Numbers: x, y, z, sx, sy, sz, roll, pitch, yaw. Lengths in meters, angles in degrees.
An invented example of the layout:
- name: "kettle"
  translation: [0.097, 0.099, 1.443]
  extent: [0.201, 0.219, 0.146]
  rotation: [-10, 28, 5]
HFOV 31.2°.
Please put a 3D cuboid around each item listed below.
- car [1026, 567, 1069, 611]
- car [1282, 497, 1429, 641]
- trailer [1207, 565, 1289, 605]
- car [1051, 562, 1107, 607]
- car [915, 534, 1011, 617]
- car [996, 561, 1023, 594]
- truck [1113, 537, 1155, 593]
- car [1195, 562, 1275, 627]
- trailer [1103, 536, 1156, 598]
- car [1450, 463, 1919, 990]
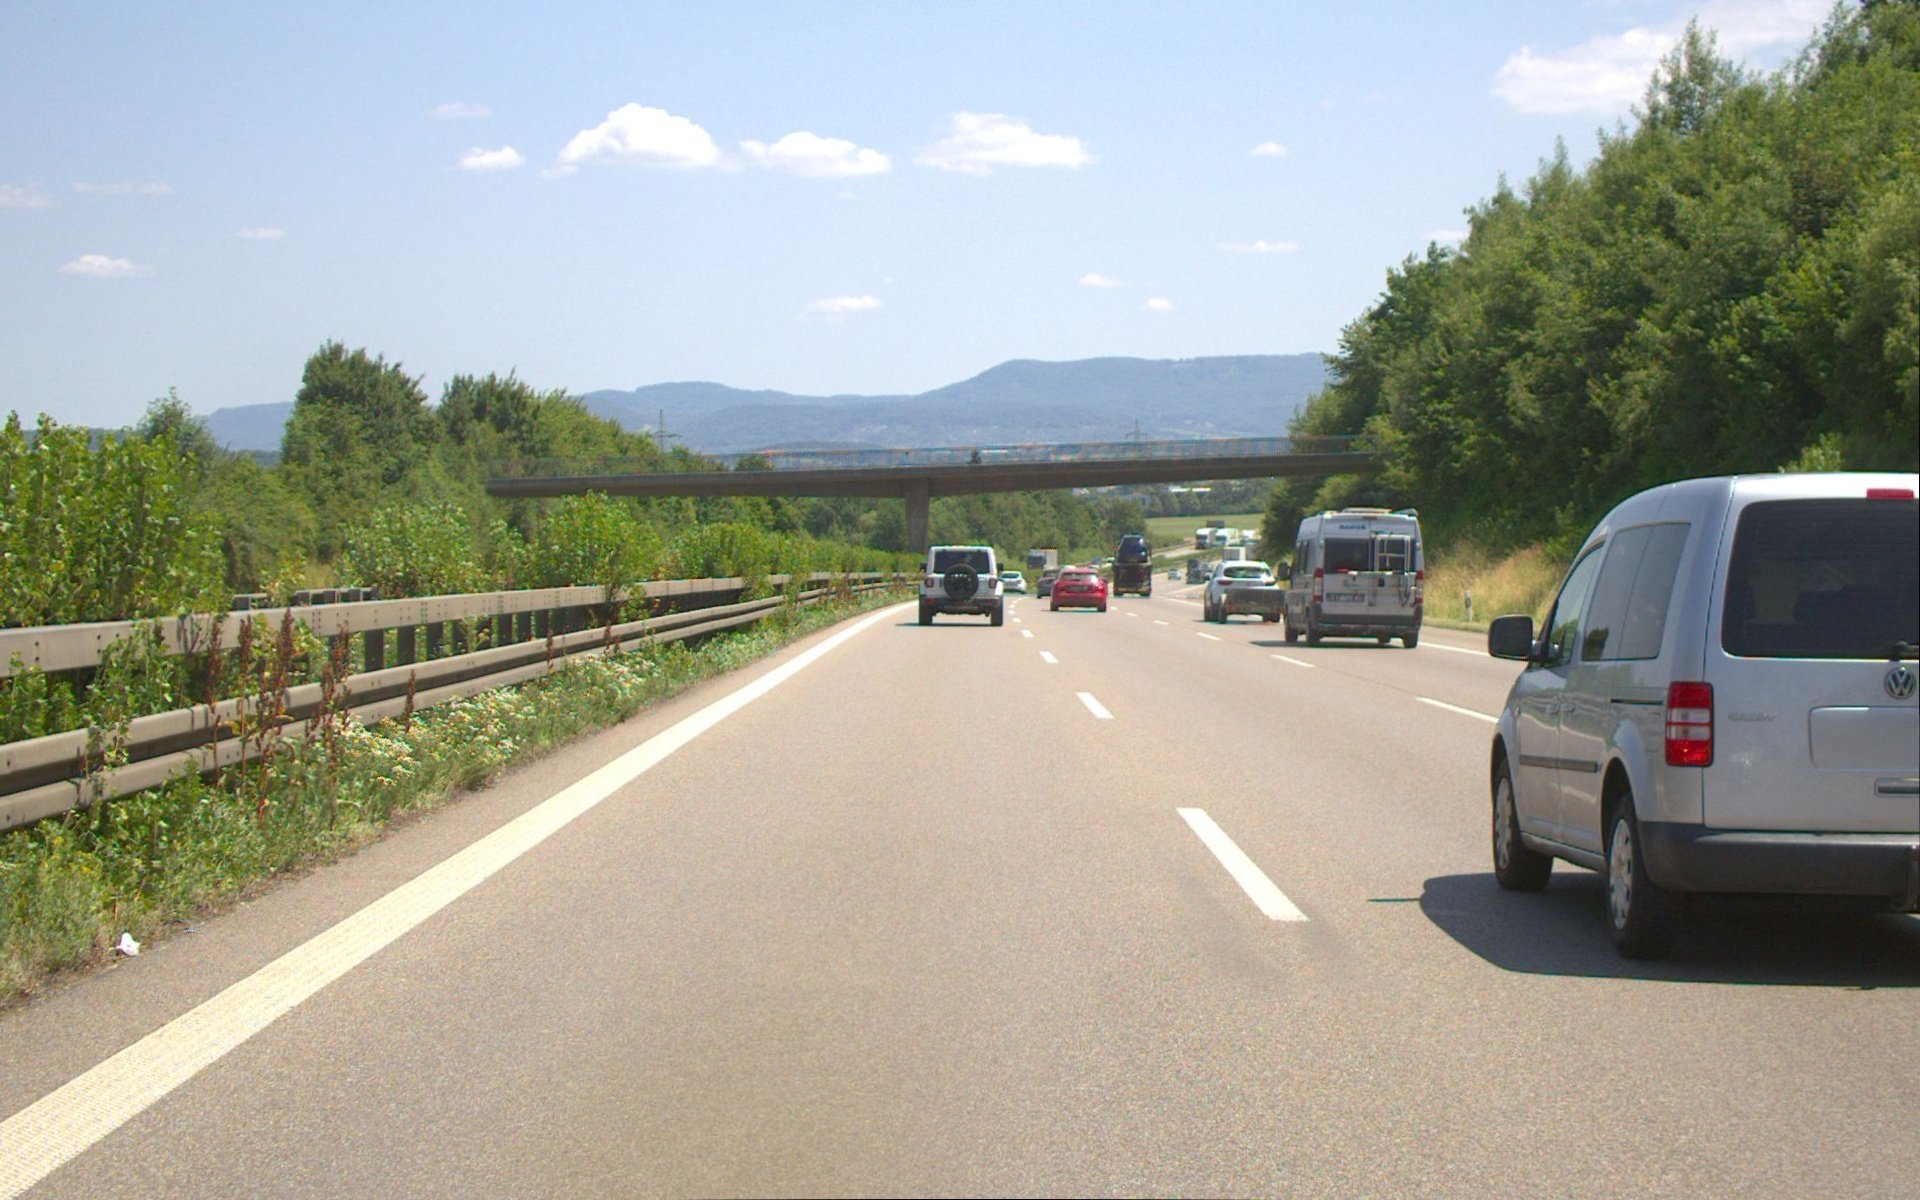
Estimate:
- name: "car"
  translation: [4.275, -0.556, 168.190]
  extent: [1.993, 2.007, 4.000]
  rotation: [1, 1, 0]
- name: "car"
  translation: [7.458, -0.652, 65.516]
  extent: [2.089, 2.567, 6.622]
  rotation: [1, 1, 1]
- name: "trailer"
  translation: [7.473, -0.407, 89.586]
  extent: [1.754, 0.905, 4.320]
  rotation: [1, 1, 0]
- name: "car"
  translation: [3.885, -0.523, 112.417]
  extent: [1.686, 1.374, 3.949]
  rotation: [1, 1, 0]
- name: "car"
  translation: [0.101, -0.598, 80.038]
  extent: [2.083, 1.823, 4.753]
  rotation: [1, 1, 2]
- name: "car"
  translation: [3.163, -1.428, 219.080]
  extent: [1.698, 2.007, 3.822]
  rotation: [1, 1, 1]
- name: "truck"
  translation: [12.348, -2.530, 243.602]
  extent: [2.754, 3.839, 6.643]
  rotation: [1, 1, 5]
- name: "car"
  translation: [7.489, -0.173, 93.964]
  extent: [1.781, 1.645, 4.403]
  rotation: [1, 1, 0]
- name: "trailer"
  translation: [11.698, -2.363, 236.129]
  extent: [2.855, 3.979, 15.394]
  rotation: [1, 1, 5]
- name: "car"
  translation: [3.293, 0.388, 14.387]
  extent: [1.746, 1.823, 4.801]
  rotation: [1, 1, 0]
